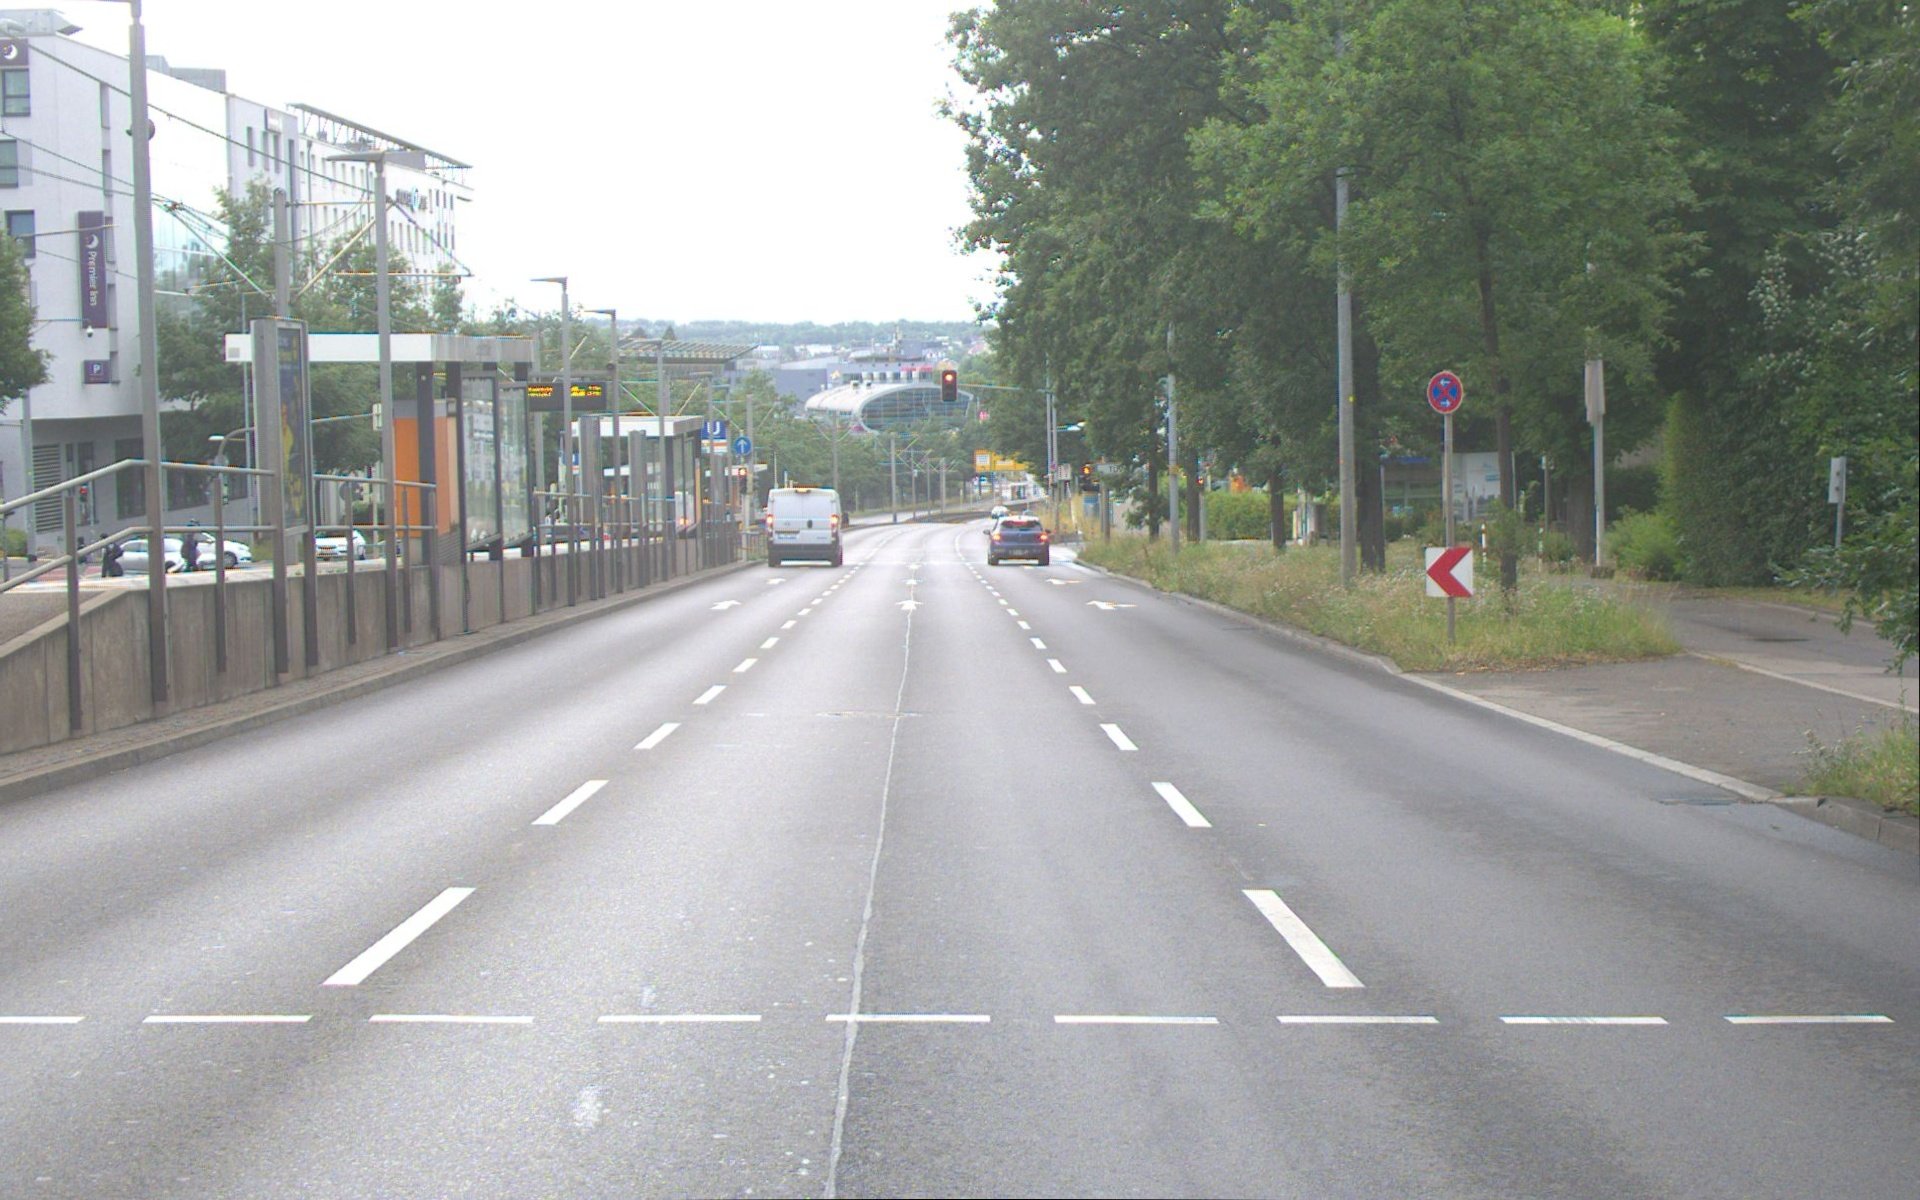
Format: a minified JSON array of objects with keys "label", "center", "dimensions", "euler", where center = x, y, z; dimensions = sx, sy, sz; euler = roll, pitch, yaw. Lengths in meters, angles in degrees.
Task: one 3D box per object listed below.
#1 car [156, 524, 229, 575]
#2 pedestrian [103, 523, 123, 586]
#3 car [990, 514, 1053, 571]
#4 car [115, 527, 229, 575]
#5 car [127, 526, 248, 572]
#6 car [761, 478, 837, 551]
[{"label":"car","center":[-23.135,-1.511,103.598],"dimensions":[1.650,1.431,3.881],"euler":[-3,1,-19]},{"label":"pedestrian","center":[-25.960,-1.391,105.332],"dimensions":[0.475,1.914,0.490],"euler":[0,1,-1]},{"label":"car","center":[1.823,-1.738,102.779],"dimensions":[1.774,1.685,3.846],"euler":[0,1,-1]},{"label":"car","center":[-26.112,-1.613,113.878],"dimensions":[3.876,1.431,1.652],"euler":[-1,2,40]},{"label":"car","center":[-27.634,-1.834,122.970],"dimensions":[4.087,1.431,1.656],"euler":[-3,1,-15]},{"label":"car","center":[-4.623,-2.476,99.324],"dimensions":[2.093,2.046,4.607],"euler":[0,1,-2]}]
